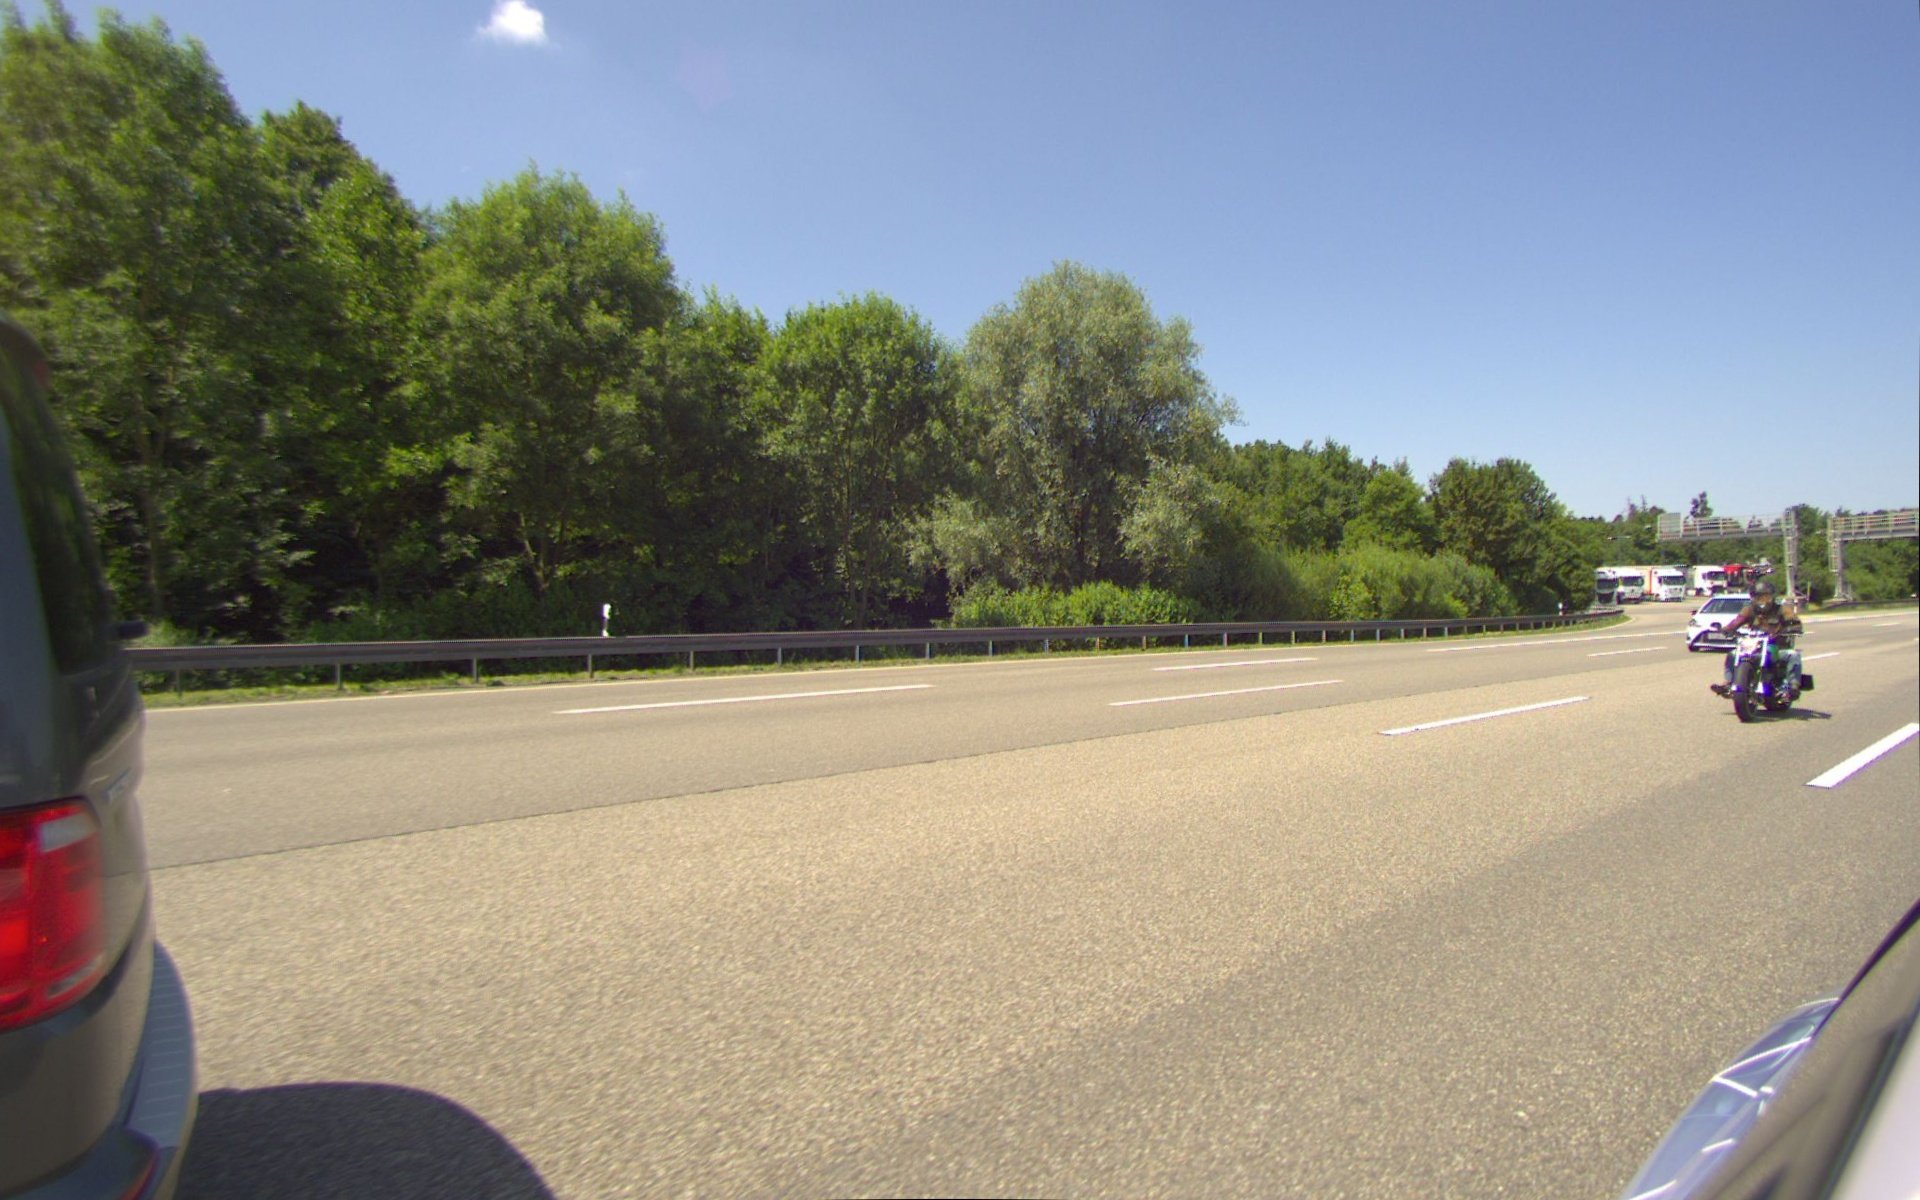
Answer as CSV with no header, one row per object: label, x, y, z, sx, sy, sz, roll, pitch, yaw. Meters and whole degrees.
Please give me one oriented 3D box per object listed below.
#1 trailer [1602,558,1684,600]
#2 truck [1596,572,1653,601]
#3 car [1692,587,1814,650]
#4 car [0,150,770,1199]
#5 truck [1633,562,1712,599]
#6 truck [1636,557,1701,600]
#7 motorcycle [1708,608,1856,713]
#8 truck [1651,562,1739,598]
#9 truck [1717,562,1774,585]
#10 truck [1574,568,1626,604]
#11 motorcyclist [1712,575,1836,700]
trailer,84.367,-2.578,125.343,3.226,4.766,12.035,-2,1,7
truck,76.366,-1.614,116.564,2.417,3.163,8.993,-2,1,13
car,21.003,0.430,26.736,4.406,1.538,1.752,0,0,-41
car,-2.929,0.426,1.273,4.993,2.059,1.966,0,0,-40
truck,92.390,-2.550,131.581,2.782,4.515,12.043,-2,1,6
truck,83.672,-2.505,119.718,3.212,4.783,7.174,-2,1,8
motorcycle,10.085,0.698,12.384,2.387,1.150,0.538,-1,1,-29
truck,97.838,-2.544,135.082,2.783,4.516,14.611,0,0,7
truck,108.216,-3.675,139.642,1.966,2.986,8.731,-2,1,8
truck,68.326,-1.507,108.123,2.455,3.656,6.305,-2,1,12
motorcyclist,9.936,0.422,12.360,1.002,1.445,0.856,-1,1,-28
